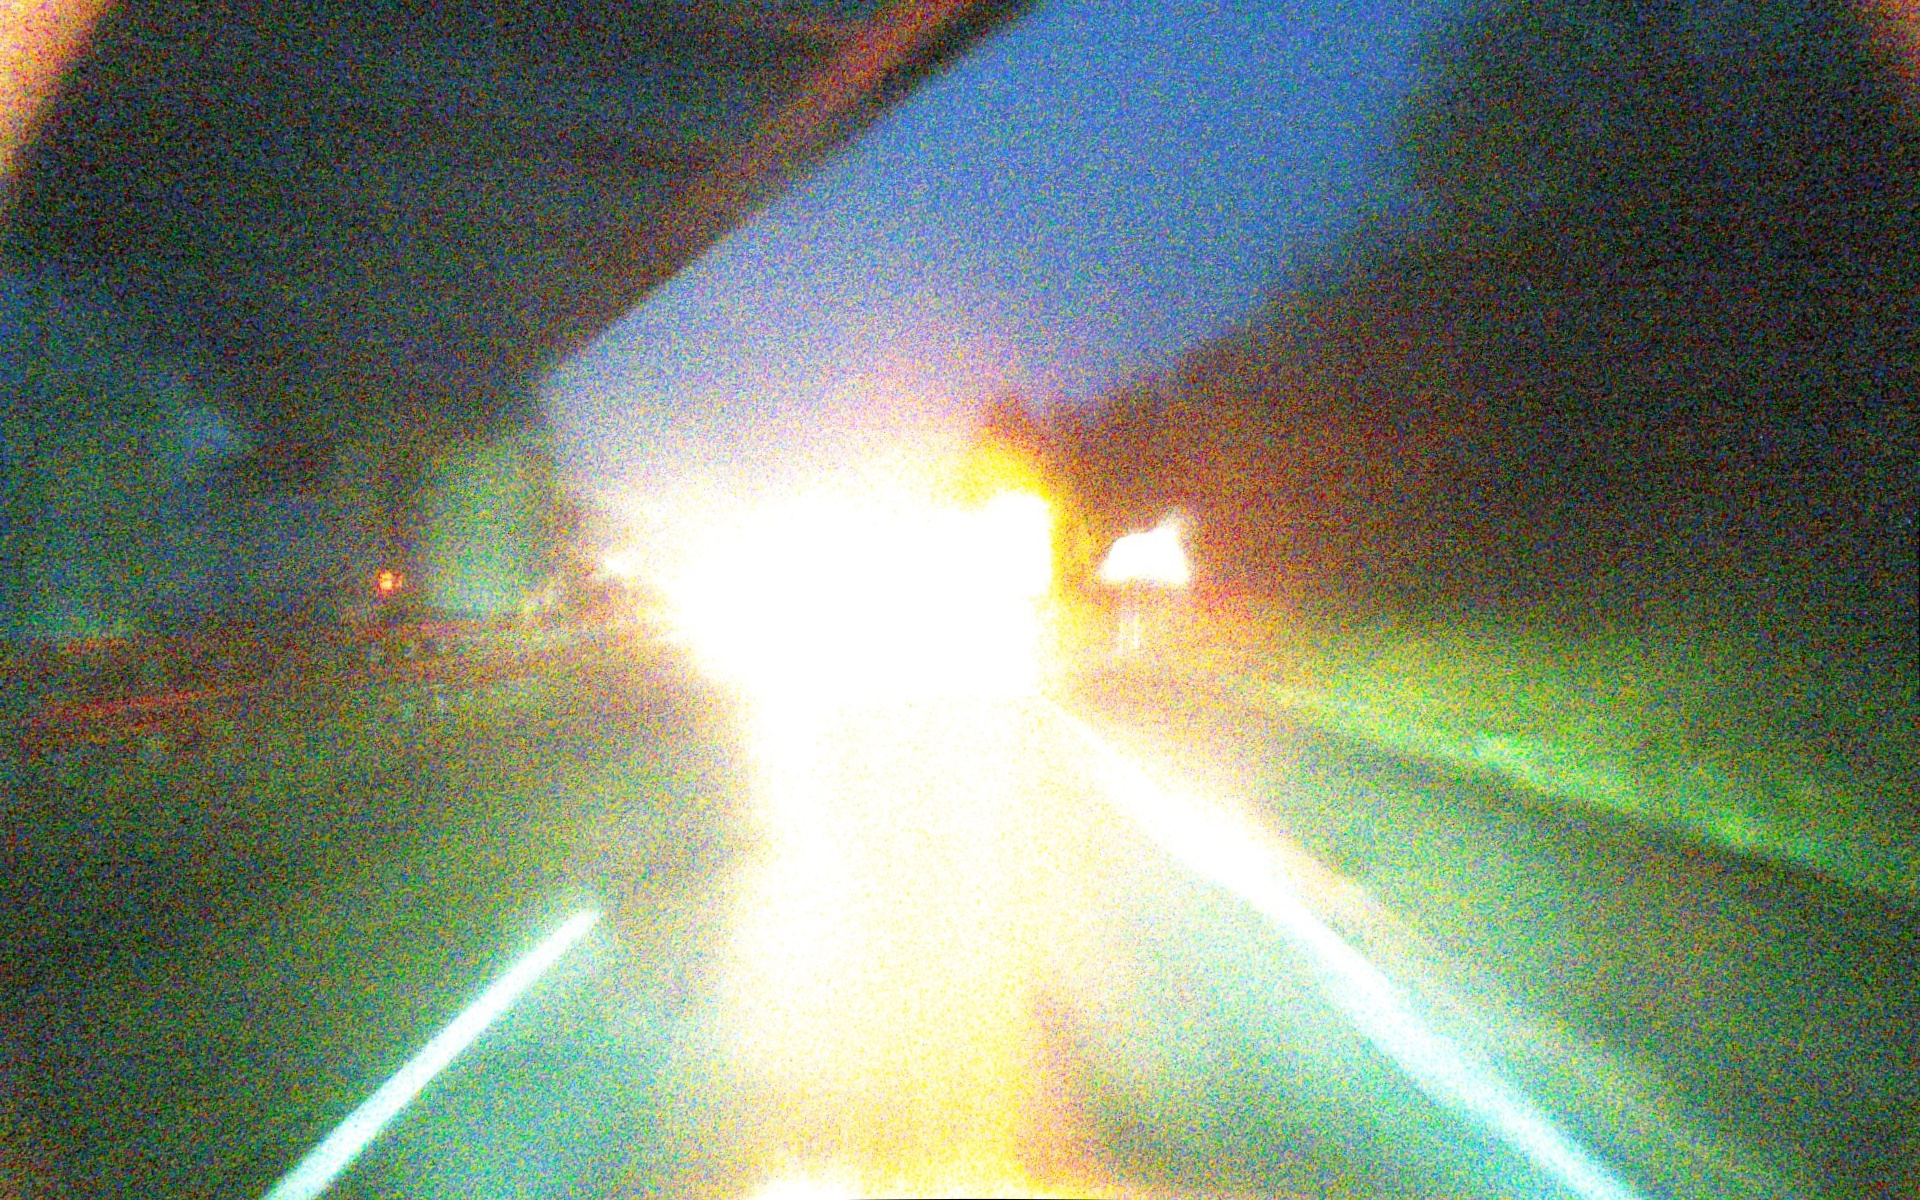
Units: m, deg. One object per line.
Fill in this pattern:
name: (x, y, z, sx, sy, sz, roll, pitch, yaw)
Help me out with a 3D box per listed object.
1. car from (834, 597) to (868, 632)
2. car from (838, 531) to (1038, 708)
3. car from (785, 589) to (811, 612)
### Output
car: (-6.697, 0.865, 101.374, 1.954, 1.948, 3.997, 3, 0, -4)
car: (-0.465, 0.294, 25.436, 2.661, 2.348, 6.096, 1, -1, -3)
car: (-11.811, 0.032, 120.472, 1.826, 1.571, 4.225, 0, 1, -5)
